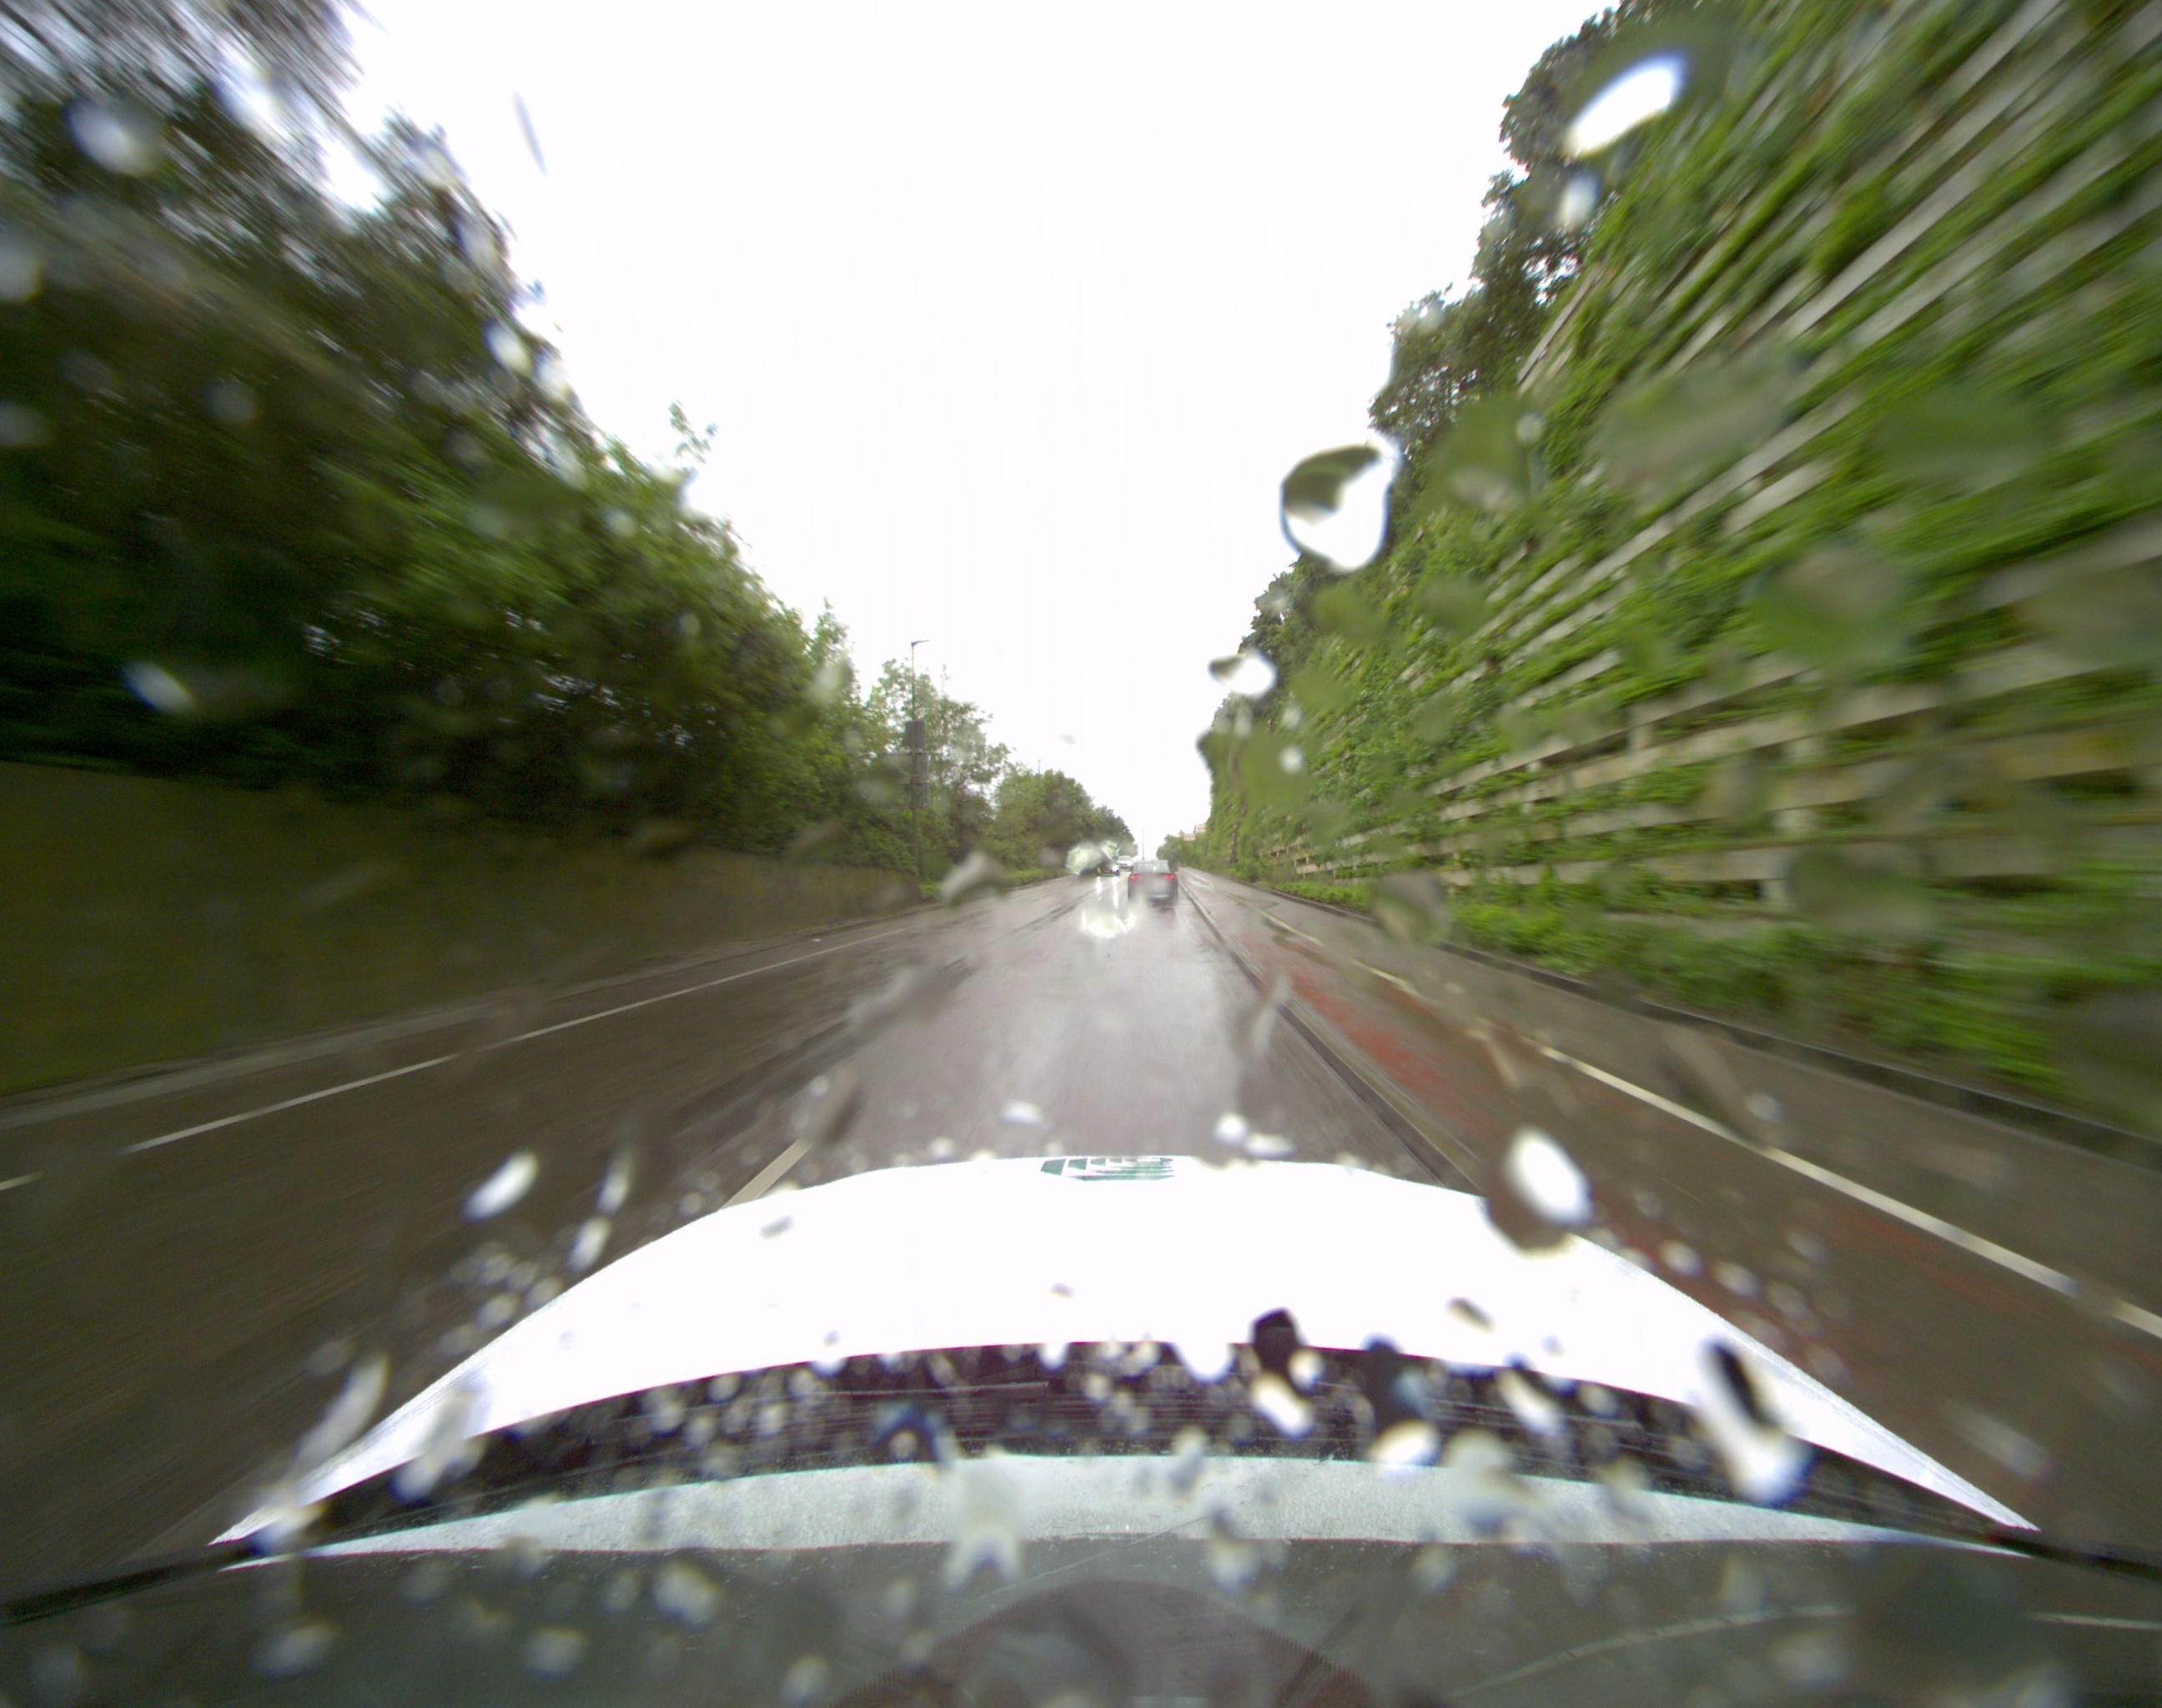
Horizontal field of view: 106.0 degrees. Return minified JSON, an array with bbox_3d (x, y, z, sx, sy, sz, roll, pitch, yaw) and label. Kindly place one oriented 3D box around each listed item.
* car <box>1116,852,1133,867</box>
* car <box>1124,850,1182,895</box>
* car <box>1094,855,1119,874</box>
[{"bbox_3d":[4.903,0.608,91.497,1.814,1.615,4.098,-1,0,4],"label":"car"},{"bbox_3d":[2.707,0.642,29.739,1.882,1.492,4.216,-2,0,7],"label":"car"},{"bbox_3d":[2.087,0.820,65.255,1.857,1.449,4.382,-2,0,4],"label":"car"}]
